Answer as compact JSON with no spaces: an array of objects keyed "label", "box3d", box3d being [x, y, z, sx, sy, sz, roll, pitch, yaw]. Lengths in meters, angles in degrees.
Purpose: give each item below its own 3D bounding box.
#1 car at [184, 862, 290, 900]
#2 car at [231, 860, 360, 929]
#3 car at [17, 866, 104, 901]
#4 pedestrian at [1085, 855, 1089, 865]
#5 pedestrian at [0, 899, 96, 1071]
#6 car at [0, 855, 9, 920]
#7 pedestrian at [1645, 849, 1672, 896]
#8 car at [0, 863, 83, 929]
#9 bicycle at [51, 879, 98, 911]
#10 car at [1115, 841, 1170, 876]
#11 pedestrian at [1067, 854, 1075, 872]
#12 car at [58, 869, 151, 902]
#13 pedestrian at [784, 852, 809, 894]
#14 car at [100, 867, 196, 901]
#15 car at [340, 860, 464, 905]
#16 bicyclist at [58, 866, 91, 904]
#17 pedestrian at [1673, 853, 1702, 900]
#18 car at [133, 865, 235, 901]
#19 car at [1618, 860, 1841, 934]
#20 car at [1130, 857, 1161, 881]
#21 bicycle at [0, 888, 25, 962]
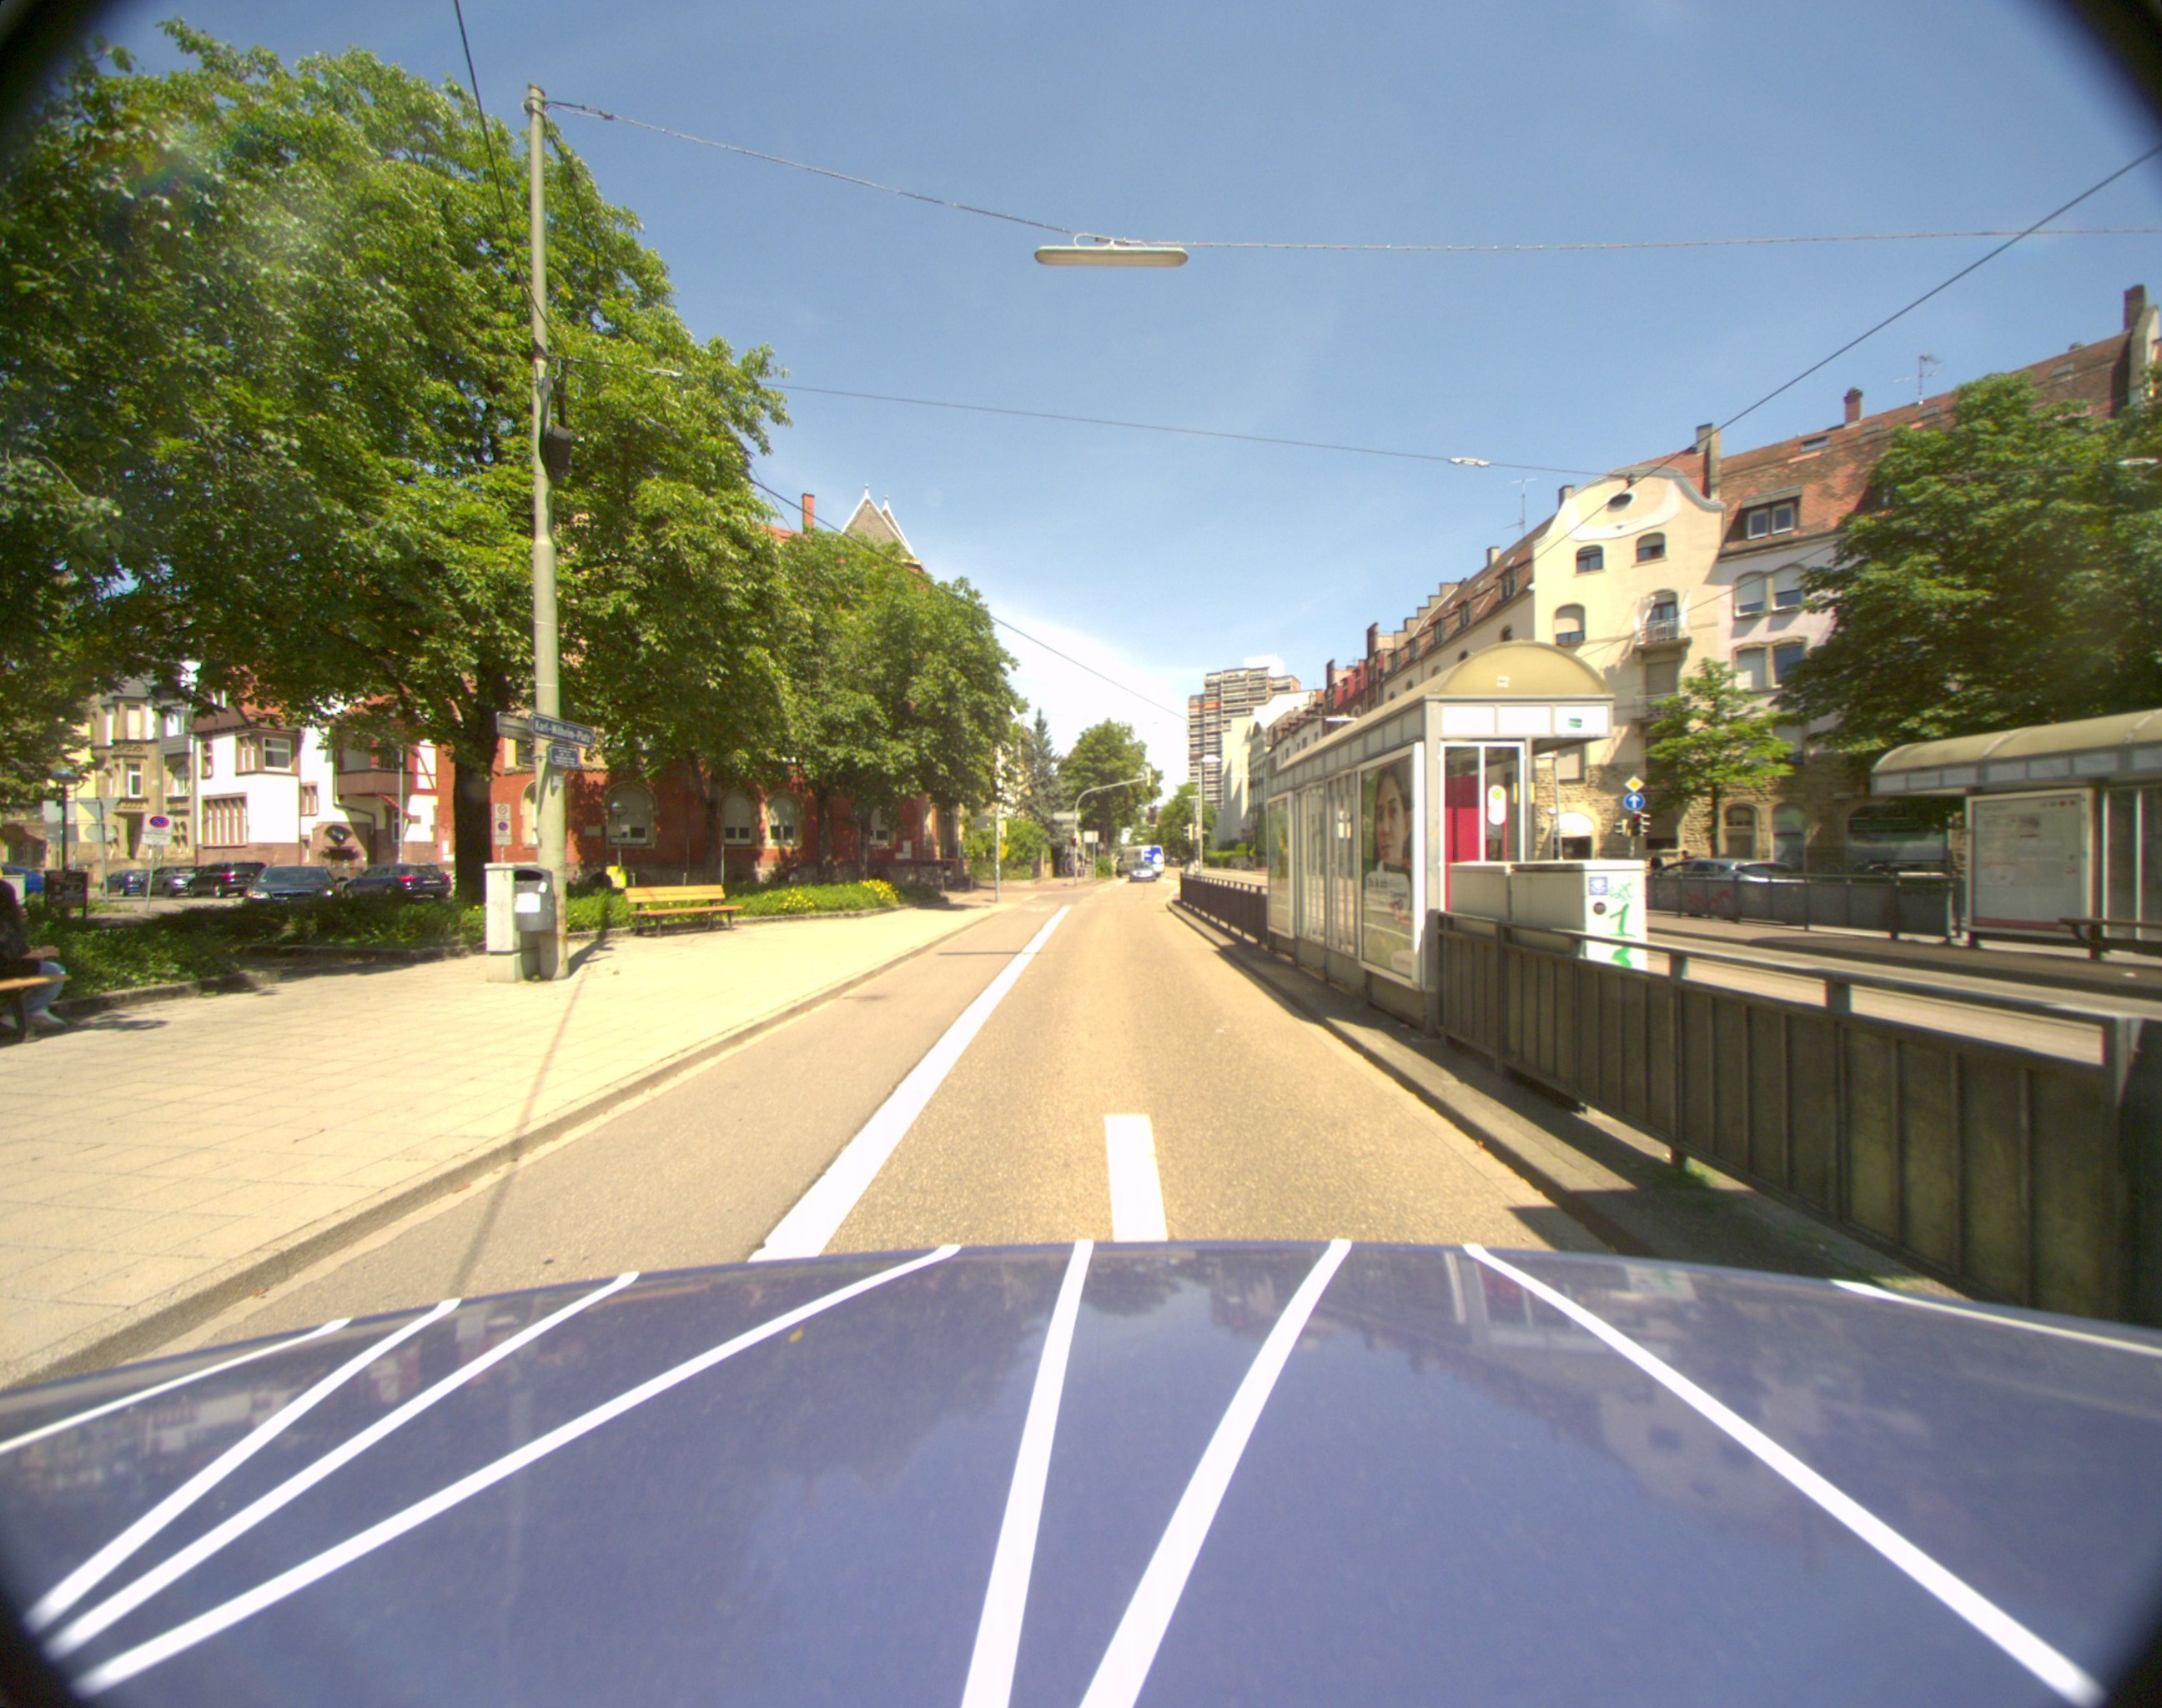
[{"label":"car","box3d":[-39.593,1.271,35.663,4.299,1.608,1.941,-2,1,23]},{"label":"car","box3d":[-21.581,1.038,21.071,1.942,1.608,4.512,-3,1,-40]},{"label":"car","box3d":[-59.182,1.705,44.077,4.299,1.862,1.941,-2,1,23]},{"label":"pedestrian","box3d":[1.011,1.017,130.026,0.686,1.732,0.660,-2,1,3]},{"label":"pedestrian","box3d":[-7.748,0.911,5.414,0.566,1.136,0.725,0,1,-16]},{"label":"car","box3d":[-37.664,1.198,23.792,1.934,2.178,4.315,-2,1,23]},{"label":"pedestrian","box3d":[20.117,0.647,26.465,0.594,1.637,0.474,0,0,1]},{"label":"car","box3d":[-32.848,1.298,22.024,1.934,1.869,4.315,-2,1,23]},{"label":"bicycle","box3d":[-38.305,1.548,28.909,1.776,1.151,0.544,-2,1,20]},{"label":"car","box3d":[4.992,0.322,62.606,2.276,2.658,5.818,-3,1,-19]},{"label":"pedestrian","box3d":[-0.965,0.829,70.488,0.702,1.645,0.665,0,0,1]},{"label":"car","box3d":[-53.027,1.723,41.267,4.299,1.608,1.941,-2,1,23]},{"label":"pedestrian","box3d":[-12.476,0.810,33.347,0.840,1.813,0.672,-1,1,-37]},{"label":"car","box3d":[-48.427,1.567,39.432,4.299,1.608,1.941,-2,1,23]},{"label":"car","box3d":[-27.048,1.130,30.284,4.299,1.608,1.941,-2,1,23]},{"label":"bicyclist","box3d":[-38.254,1.165,28.876,0.632,1.412,0.544,-2,1,21]},{"label":"pedestrian","box3d":[20.283,0.750,25.421,0.594,1.542,0.474,0,0,-1]},{"label":"car","box3d":[-44.153,1.426,37.409,4.299,1.608,1.941,-2,1,23]},{"label":"car","box3d":[14.834,0.908,17.722,1.812,1.386,3.999,-2,1,1]},{"label":"car","box3d":[4.311,0.983,50.839,1.895,1.372,4.001,-2,1,5]},{"label":"bicycle","box3d":[-18.872,1.256,11.375,0.955,1.256,3.743,-2,1,-2]}]
